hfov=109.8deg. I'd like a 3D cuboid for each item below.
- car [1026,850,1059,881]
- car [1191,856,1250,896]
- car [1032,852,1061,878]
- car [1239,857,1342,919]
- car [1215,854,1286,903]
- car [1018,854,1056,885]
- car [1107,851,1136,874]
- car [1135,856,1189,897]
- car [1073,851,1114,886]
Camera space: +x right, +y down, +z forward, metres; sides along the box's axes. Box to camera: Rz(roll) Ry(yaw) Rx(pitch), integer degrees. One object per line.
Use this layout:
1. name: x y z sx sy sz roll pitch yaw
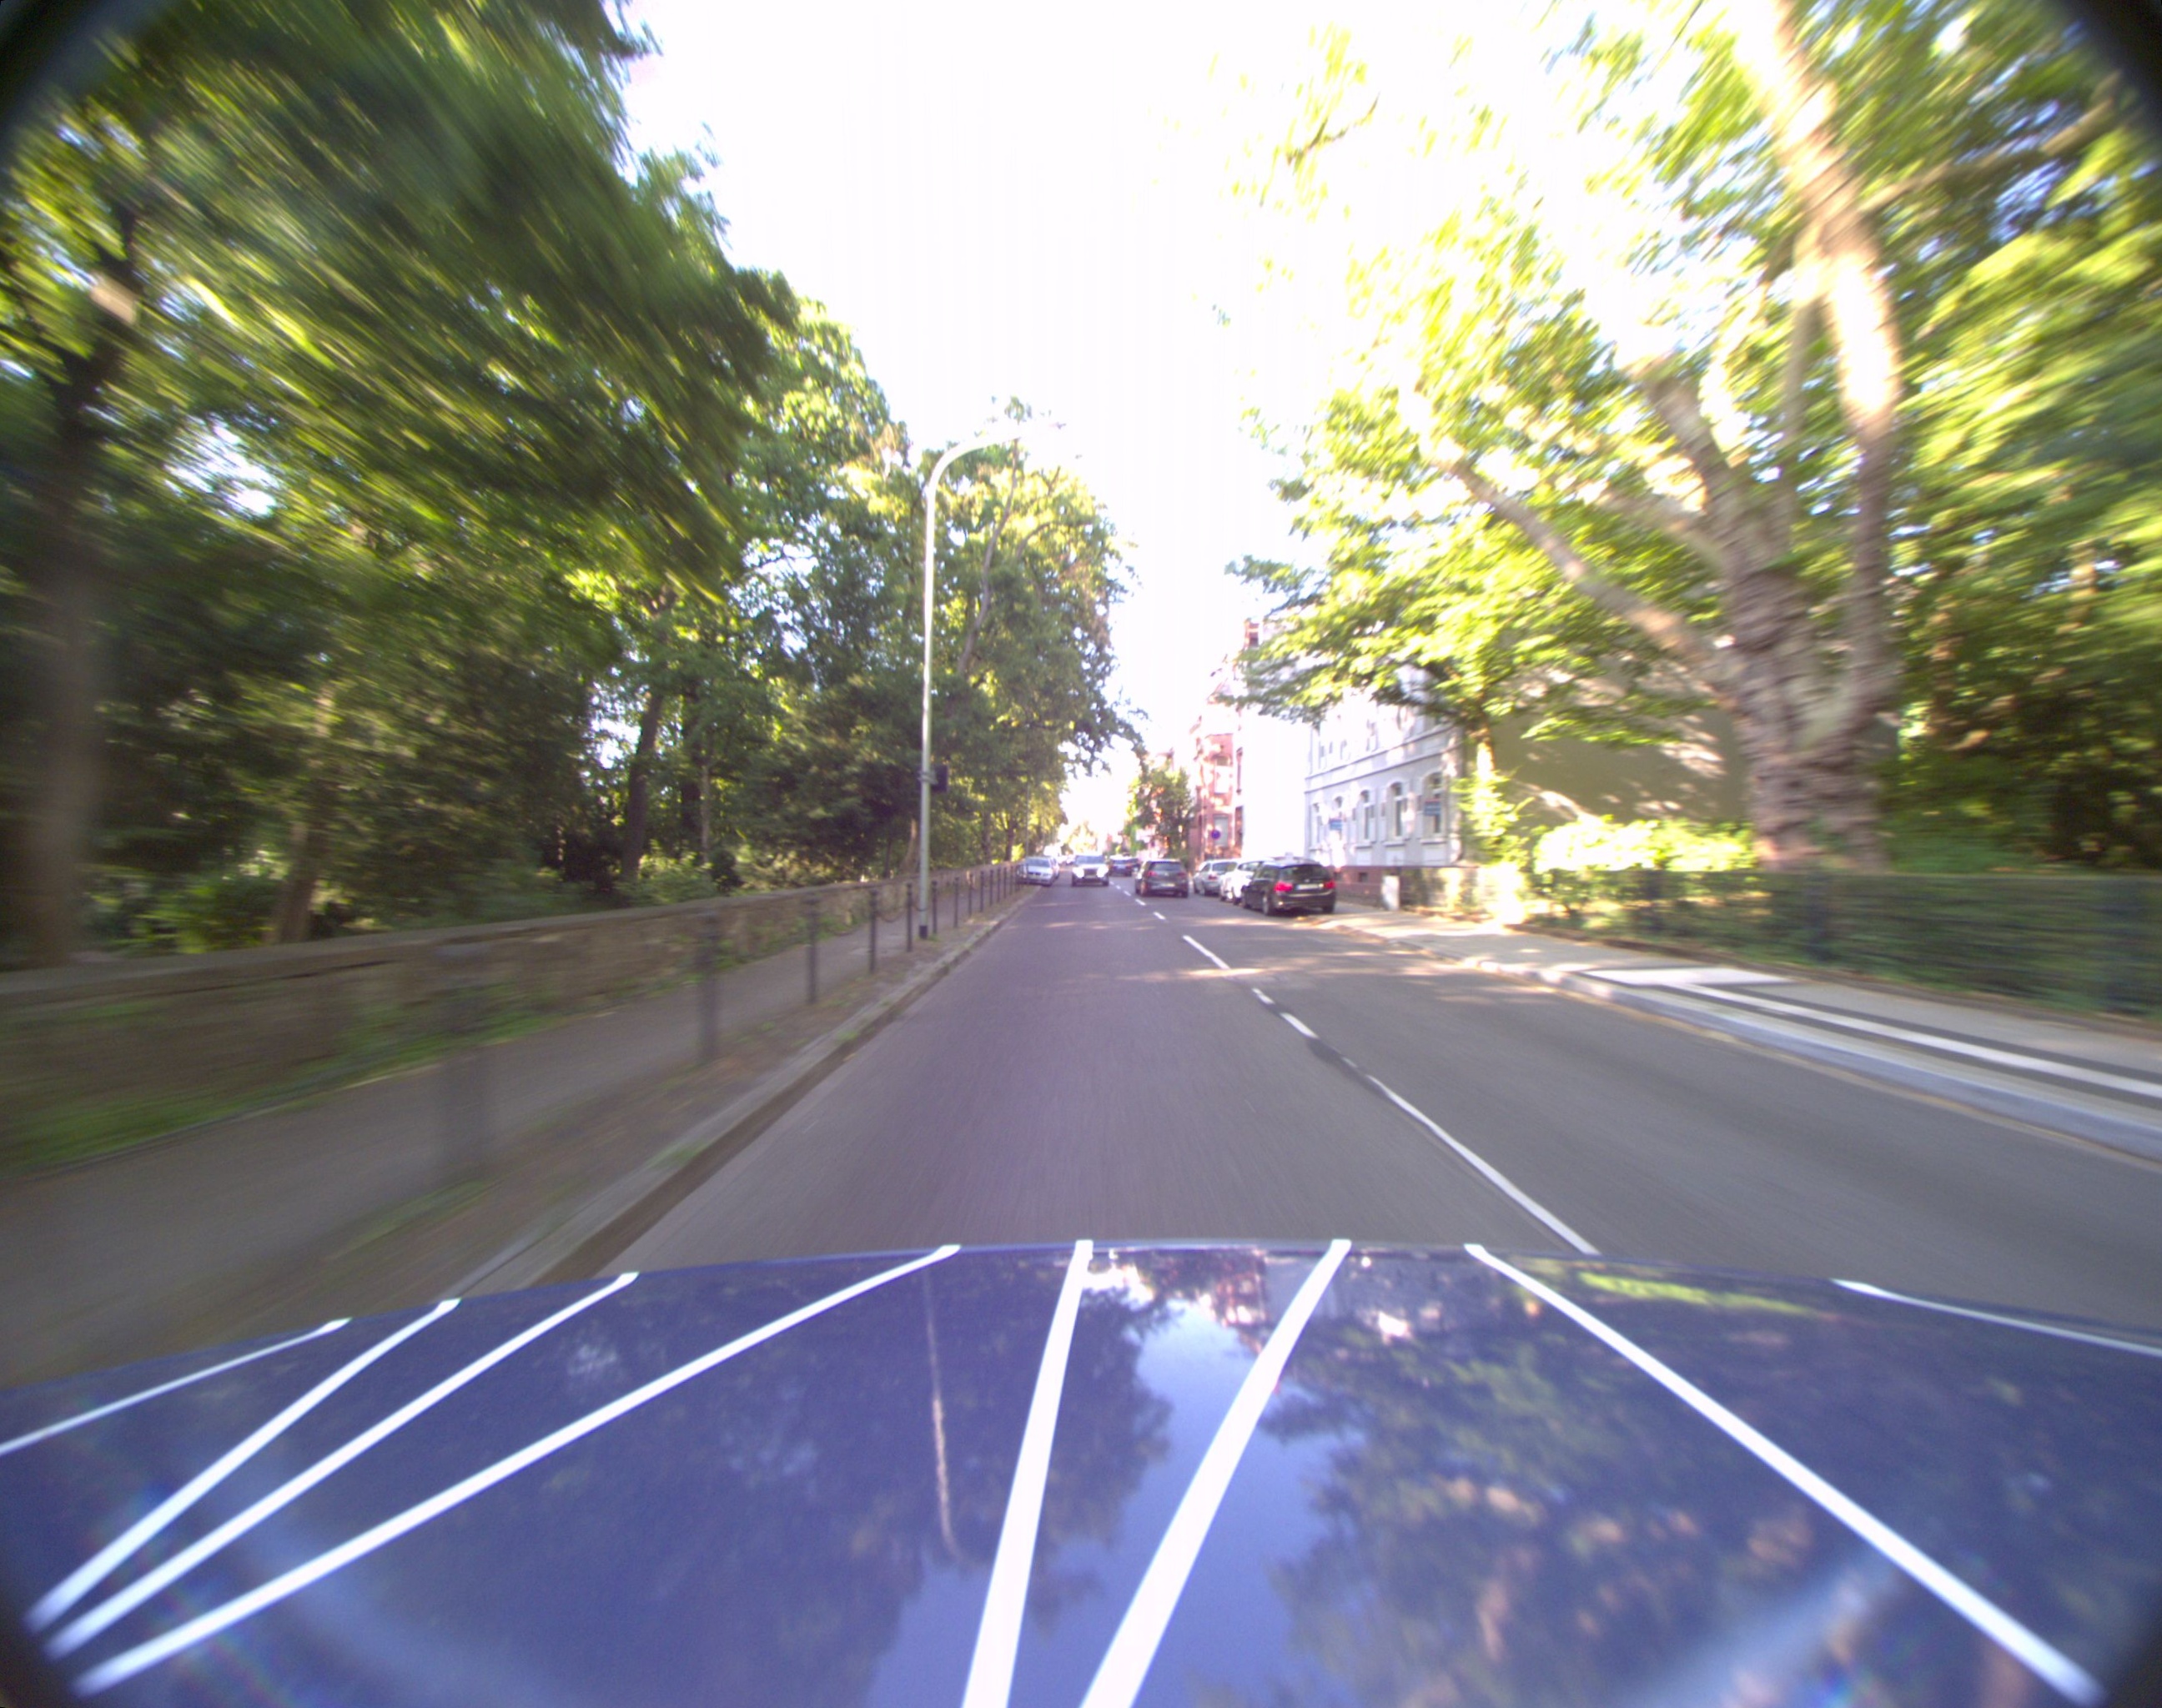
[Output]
1. car: -2.400 0.702 46.478 1.823 1.678 3.999 -3 -1 -5
2. car: 5.586 0.854 30.831 1.627 1.426 3.559 -3 0 0
3. car: -2.379 0.710 51.890 1.861 1.568 3.998 -2 1 -3
4. car: 5.543 0.846 20.528 1.689 1.426 3.615 -3 0 0
5. car: 5.623 0.774 25.501 1.627 1.538 3.322 0 0 0
6. car: -2.274 0.772 39.053 1.824 1.375 3.933 3 1 -4
7. car: 3.087 0.598 58.446 1.875 1.608 4.000 -3 0 0
8. car: 3.040 0.802 29.202 1.628 1.426 3.559 2 0 0
9. car: 0.703 0.706 38.680 1.936 1.676 4.433 0 0 3
